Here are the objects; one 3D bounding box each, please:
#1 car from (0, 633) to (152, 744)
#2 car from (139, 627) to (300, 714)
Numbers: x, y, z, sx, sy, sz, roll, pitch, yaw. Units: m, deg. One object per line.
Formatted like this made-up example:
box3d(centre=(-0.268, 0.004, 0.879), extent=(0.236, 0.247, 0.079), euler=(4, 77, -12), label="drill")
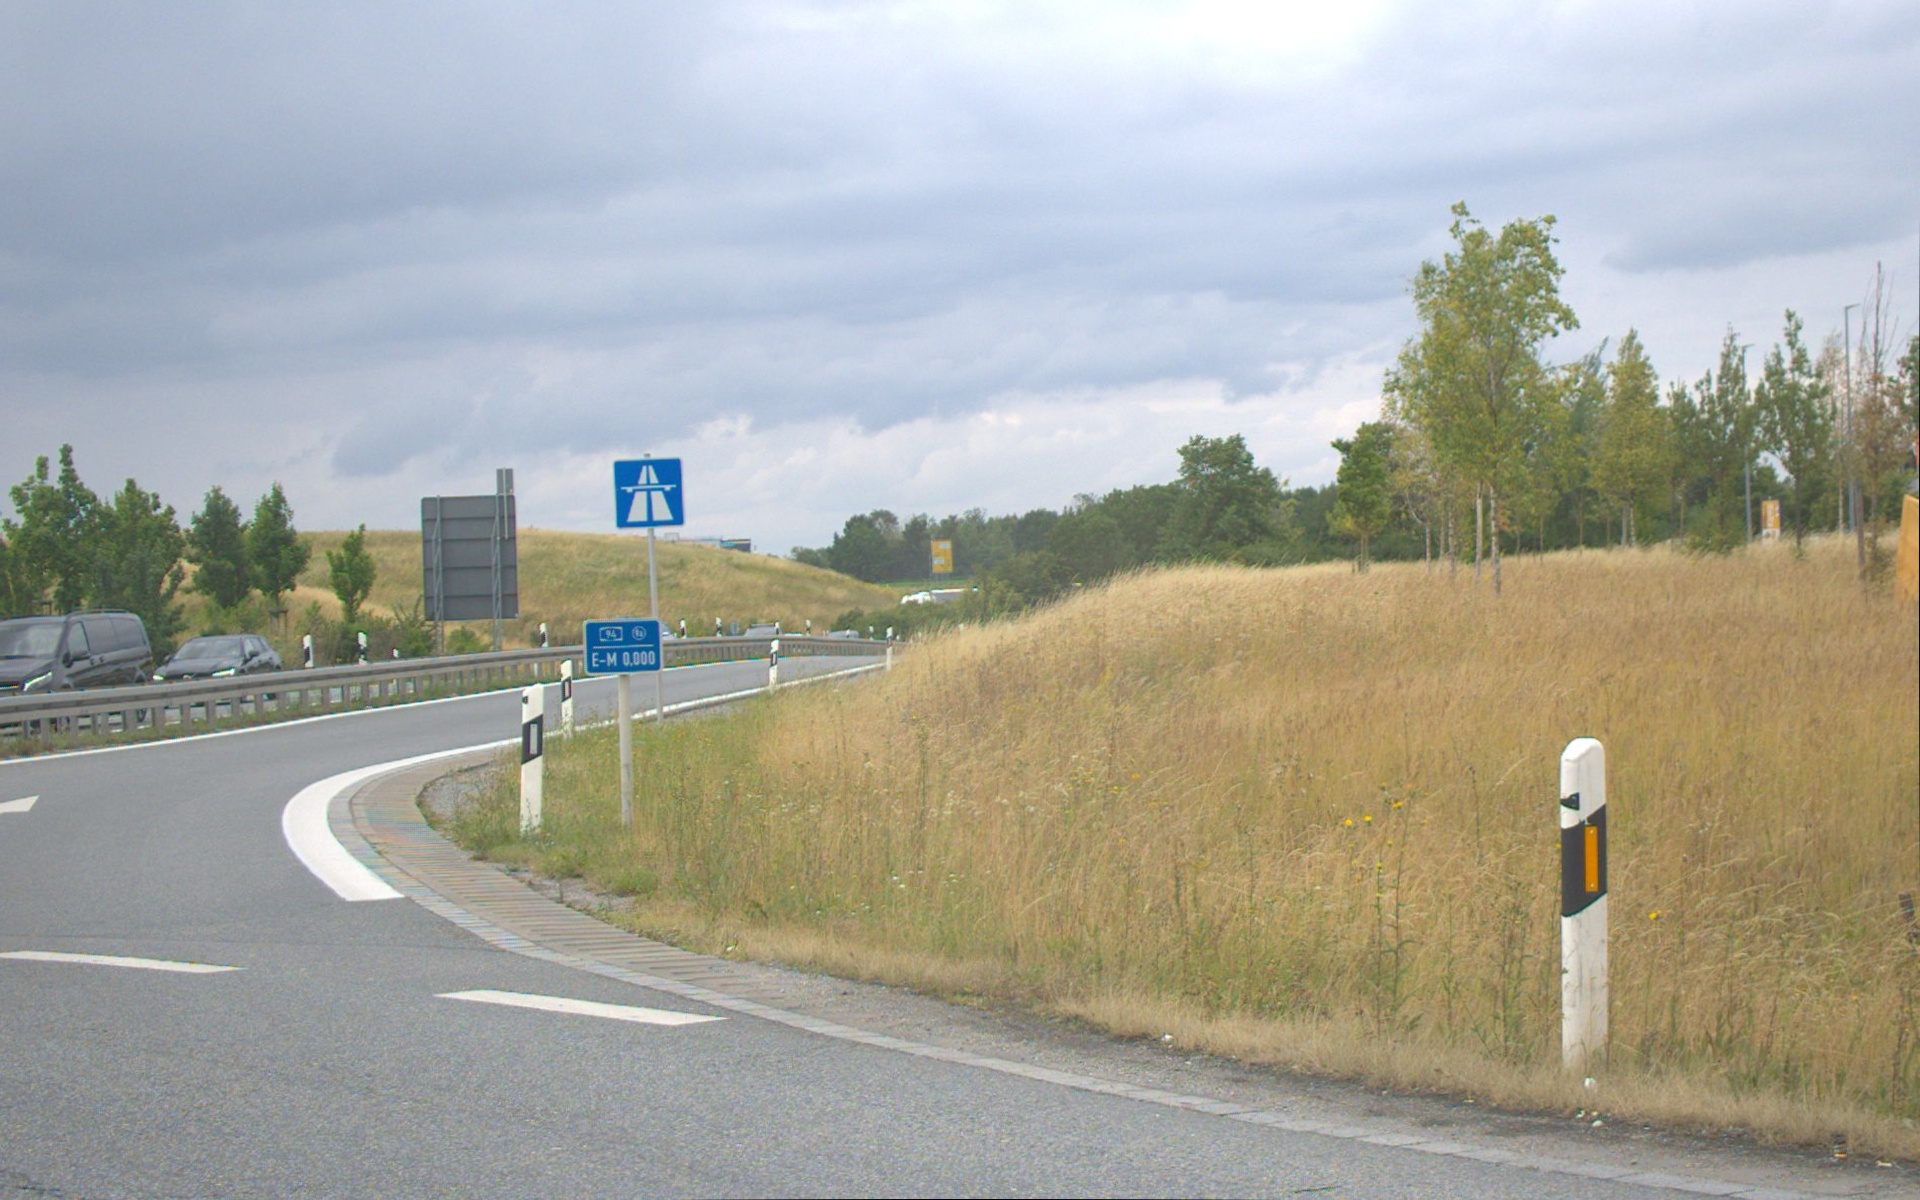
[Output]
box3d(centre=(-14.829, 1.431, 55.687), extent=(1.994, 1.678, 4.591), euler=(-3, -1, 5), label="car")
box3d(centre=(-15.489, 1.460, 72.153), extent=(1.994, 1.678, 4.591), euler=(-3, -1, 5), label="car")
